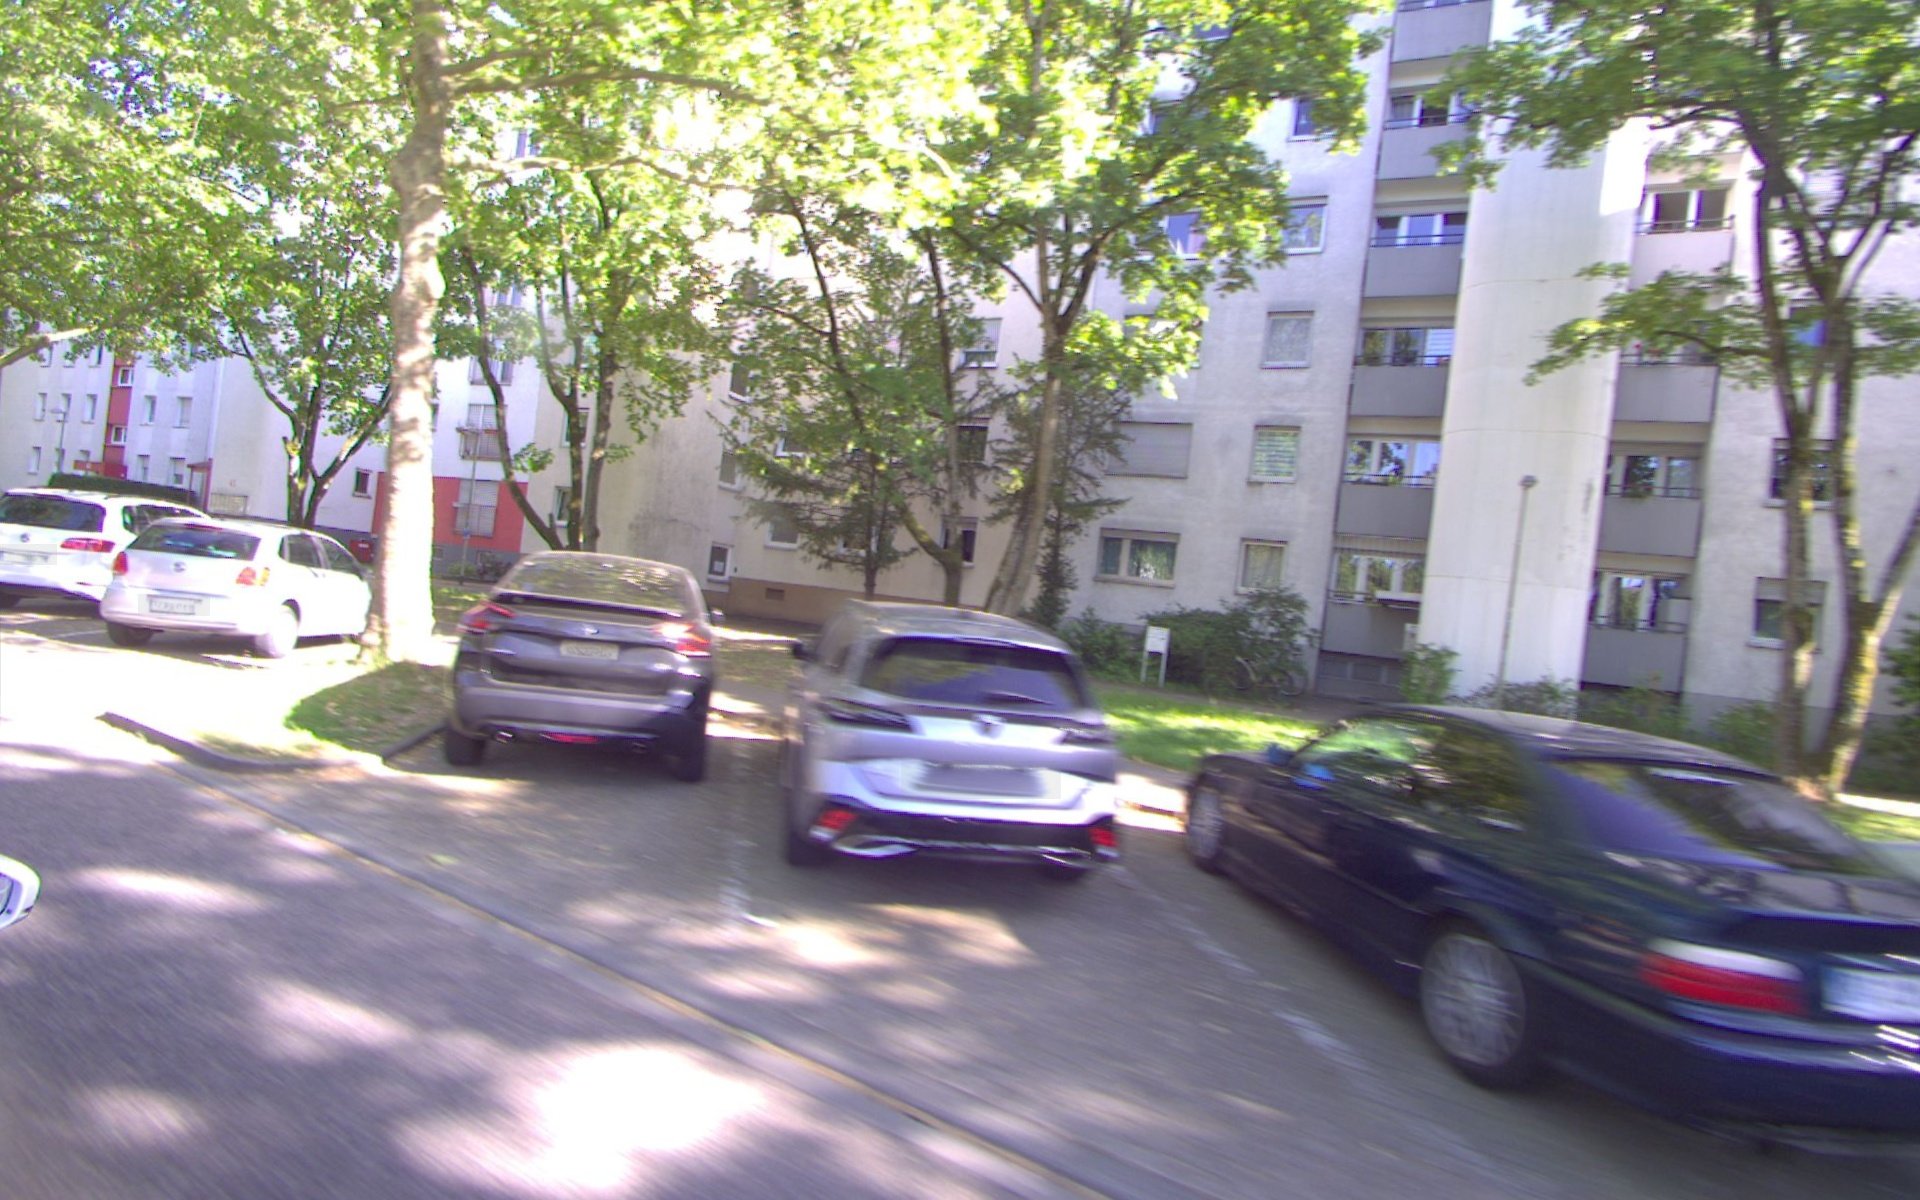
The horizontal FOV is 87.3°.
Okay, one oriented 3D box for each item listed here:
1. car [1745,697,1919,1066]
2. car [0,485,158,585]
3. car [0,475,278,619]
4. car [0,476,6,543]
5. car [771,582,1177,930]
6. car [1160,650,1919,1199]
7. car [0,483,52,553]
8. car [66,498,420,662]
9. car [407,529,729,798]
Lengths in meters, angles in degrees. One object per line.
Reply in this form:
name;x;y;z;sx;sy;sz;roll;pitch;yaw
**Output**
car;5.248;1.389;3.511;1.769;1.511;3.577;7;1;-9
car;-15.214;-1.091;16.117;1.771;1.440;4.577;7;0;-13
car;-11.601;-0.710;14.017;1.769;1.596;3.993;7;0;-8
car;-23.640;-2.216;22.181;1.769;1.610;3.991;6;1;-10
car;-0.259;0.737;6.642;1.770;1.464;3.878;7;0;-11
car;2.596;1.149;4.949;1.769;1.334;4.139;7;0;-8
car;-20.978;-1.805;20.104;1.917;1.447;4.401;6;1;-7
car;-8.340;-0.235;12.219;1.769;1.462;3.992;7;0;-9
car;-2.946;0.363;8.369;1.772;1.529;4.164;7;1;-14
